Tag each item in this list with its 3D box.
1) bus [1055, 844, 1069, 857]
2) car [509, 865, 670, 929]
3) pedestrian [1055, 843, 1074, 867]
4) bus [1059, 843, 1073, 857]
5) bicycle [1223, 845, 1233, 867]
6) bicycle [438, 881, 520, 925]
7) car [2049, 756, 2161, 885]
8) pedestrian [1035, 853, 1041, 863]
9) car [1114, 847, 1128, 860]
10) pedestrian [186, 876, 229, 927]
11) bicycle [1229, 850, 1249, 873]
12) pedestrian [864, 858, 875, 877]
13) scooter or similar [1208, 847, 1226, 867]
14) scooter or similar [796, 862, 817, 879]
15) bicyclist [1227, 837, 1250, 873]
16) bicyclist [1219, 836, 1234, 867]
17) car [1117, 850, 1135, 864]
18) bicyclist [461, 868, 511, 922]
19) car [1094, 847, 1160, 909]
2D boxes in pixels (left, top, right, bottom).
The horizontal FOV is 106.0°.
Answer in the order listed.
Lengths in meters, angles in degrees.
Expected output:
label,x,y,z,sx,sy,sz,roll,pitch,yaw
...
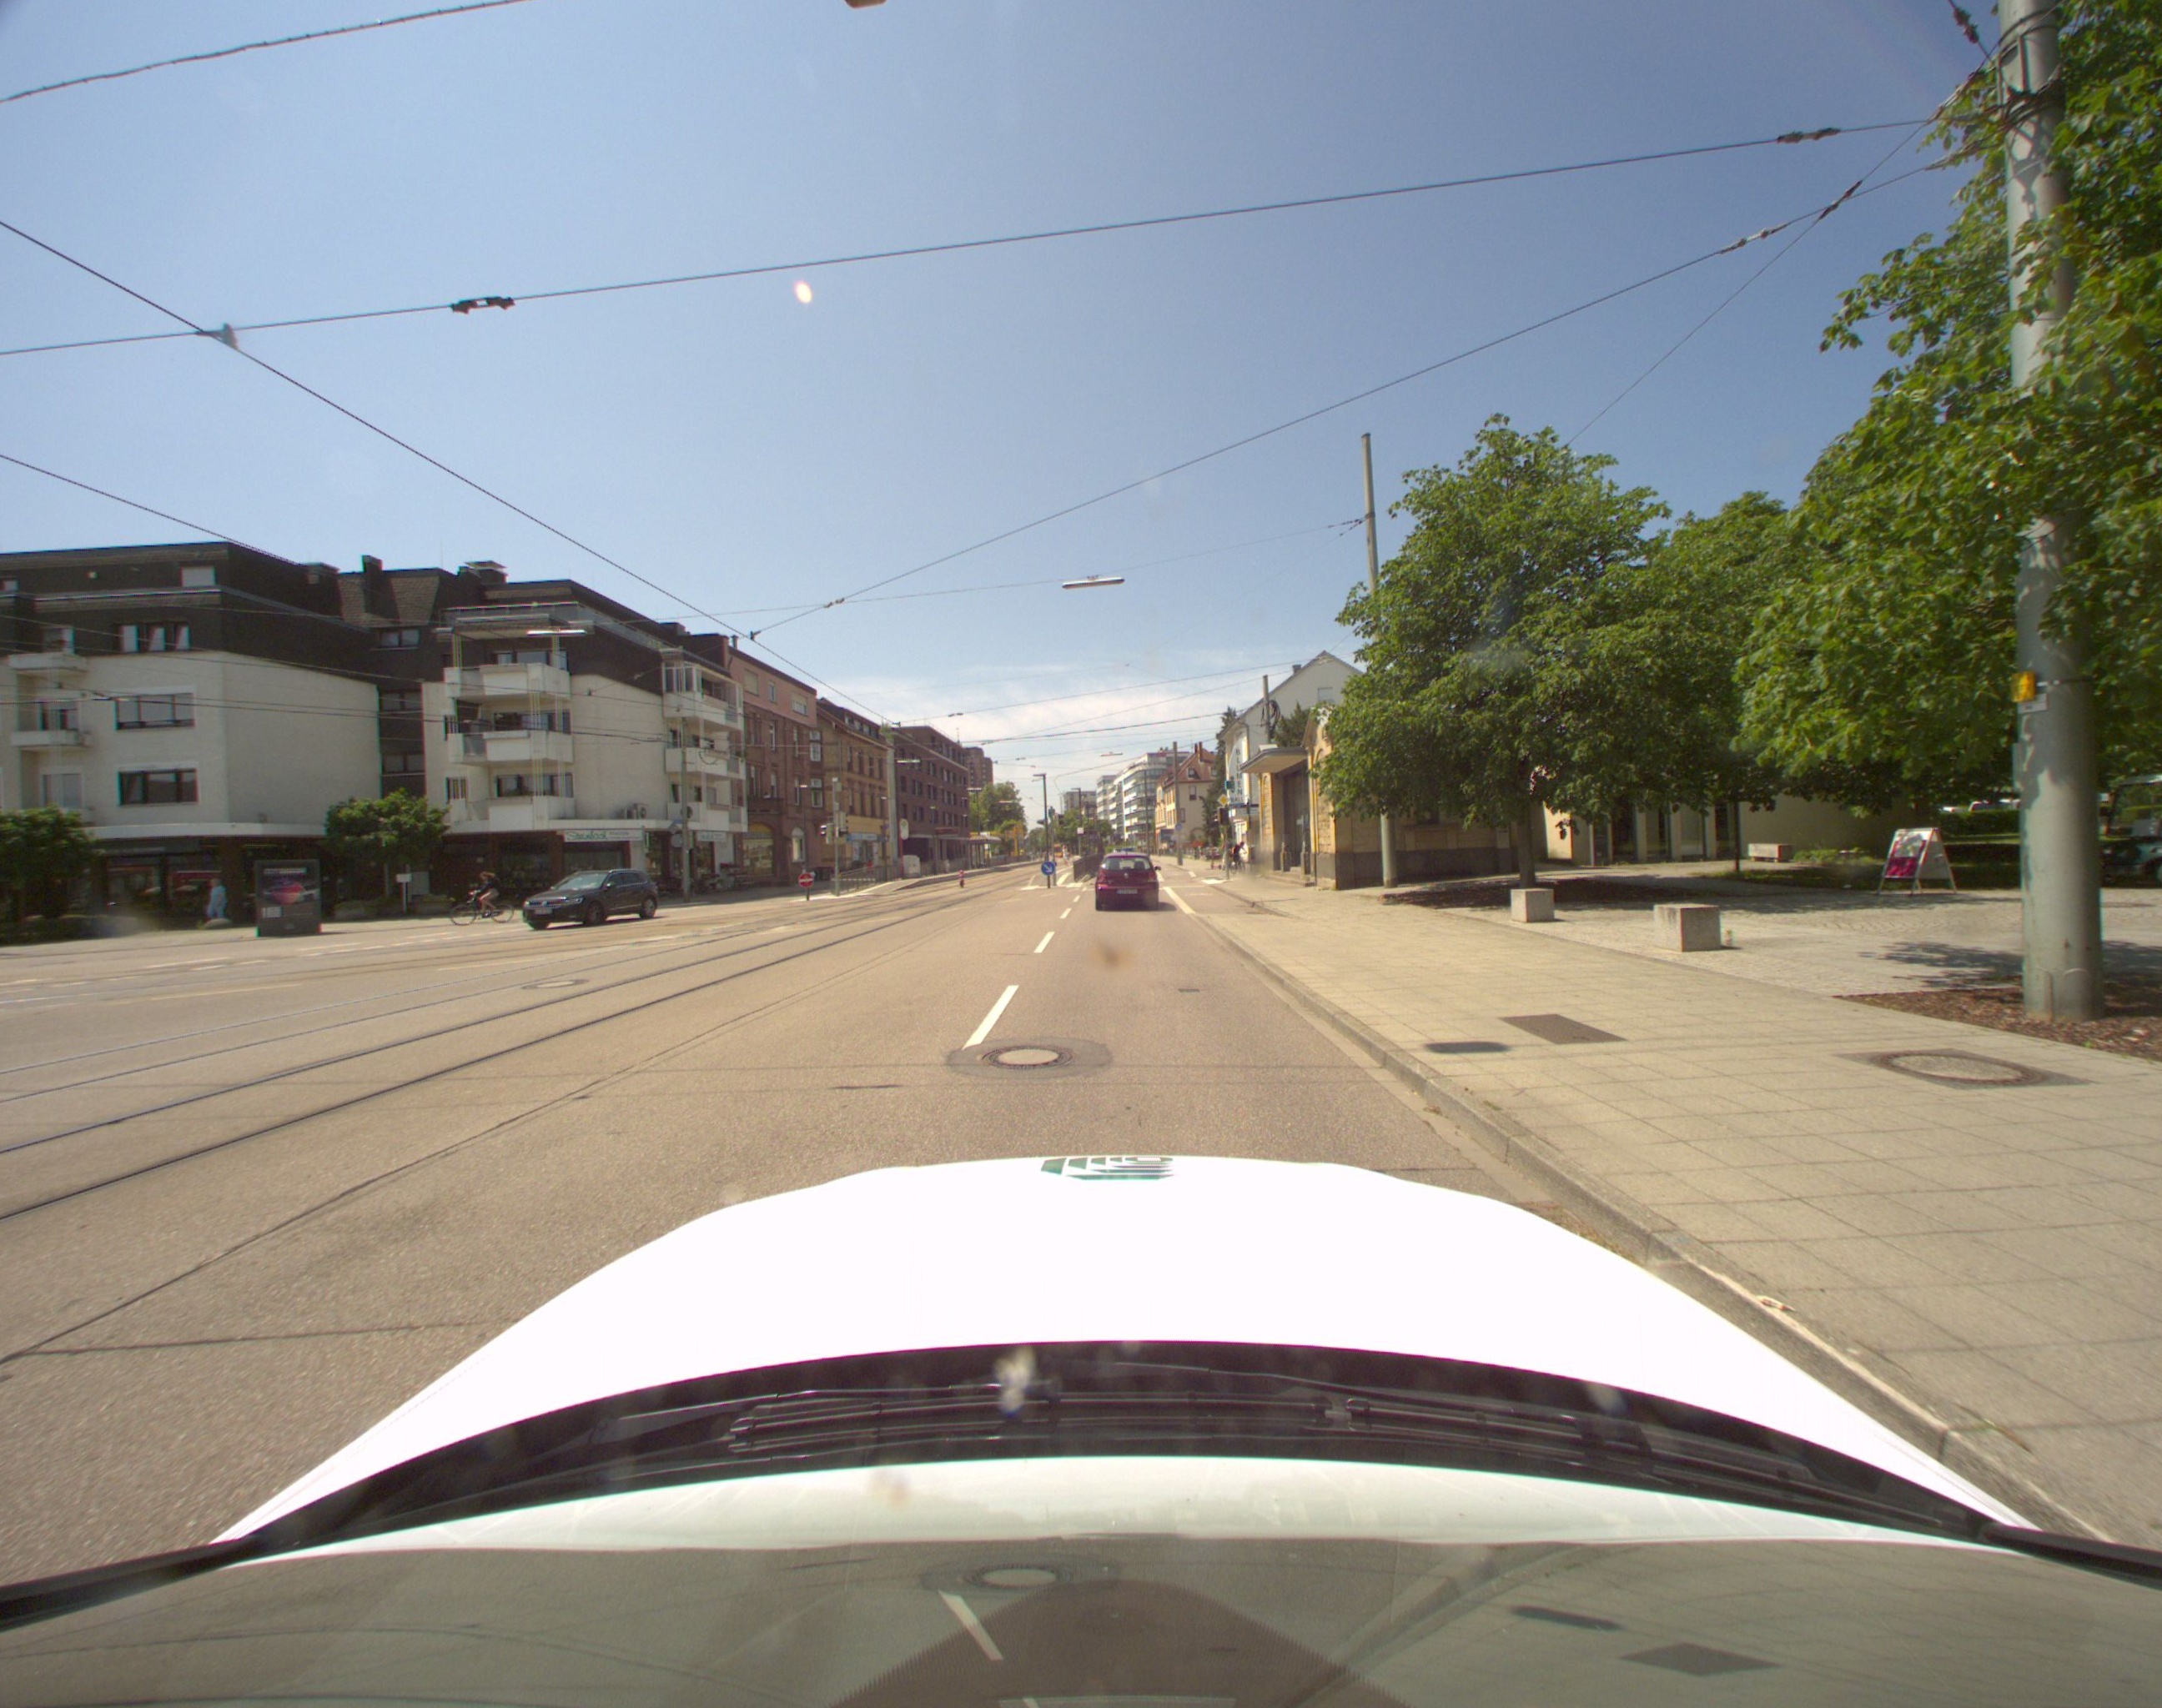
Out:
label,x,y,z,sx,sy,sz,roll,pitch,yaw
bus,-4.699,-0.855,200.767,2.233,3.003,6.570,-3,0,-10
car,-14.713,1.228,24.733,1.785,1.579,4.500,-3,0,5
pedestrian,-1.189,0.073,59.804,1.105,1.674,0.757,-2,0,-33
bus,-3.565,-0.937,194.326,2.145,3.003,6.550,-3,0,-10
bicycle,8.555,0.122,47.238,0.372,1.197,1.913,-3,0,14
bicycle,-20.592,1.661,27.915,0.670,1.304,2.118,-3,0,32
car,18.622,-0.594,13.452,3.318,2.014,1.465,-3,-1,2
pedestrian,-8.479,0.820,160.815,1.105,2.013,1.040,-2,-1,3
car,6.326,-0.134,128.425,1.986,1.848,4.001,-3,0,1
pedestrian,-30.349,1.650,28.291,0.693,1.696,0.812,-3,0,27
bicycle,7.503,0.339,38.706,0.665,1.002,1.866,-6,1,5
pedestrian,-17.146,1.093,65.997,0.612,1.560,0.640,-3,0,2
scooter or similar,8.006,0.176,47.965,0.340,1.178,1.457,-2,0,-21
scooter or similar,-19.124,1.154,56.780,0.484,1.082,1.585,-3,0,19
bicyclist,7.495,0.020,38.786,0.828,1.618,0.861,-6,1,4
bicyclist,8.480,-0.152,47.338,0.722,1.760,0.927,-3,0,14
car,5.581,0.354,101.411,1.986,1.624,4.633,-3,0,2
bicyclist,-20.498,1.401,28.073,0.725,1.762,1.142,-3,0,32
car,1.175,0.594,21.489,1.555,1.453,3.063,-3,0,2
